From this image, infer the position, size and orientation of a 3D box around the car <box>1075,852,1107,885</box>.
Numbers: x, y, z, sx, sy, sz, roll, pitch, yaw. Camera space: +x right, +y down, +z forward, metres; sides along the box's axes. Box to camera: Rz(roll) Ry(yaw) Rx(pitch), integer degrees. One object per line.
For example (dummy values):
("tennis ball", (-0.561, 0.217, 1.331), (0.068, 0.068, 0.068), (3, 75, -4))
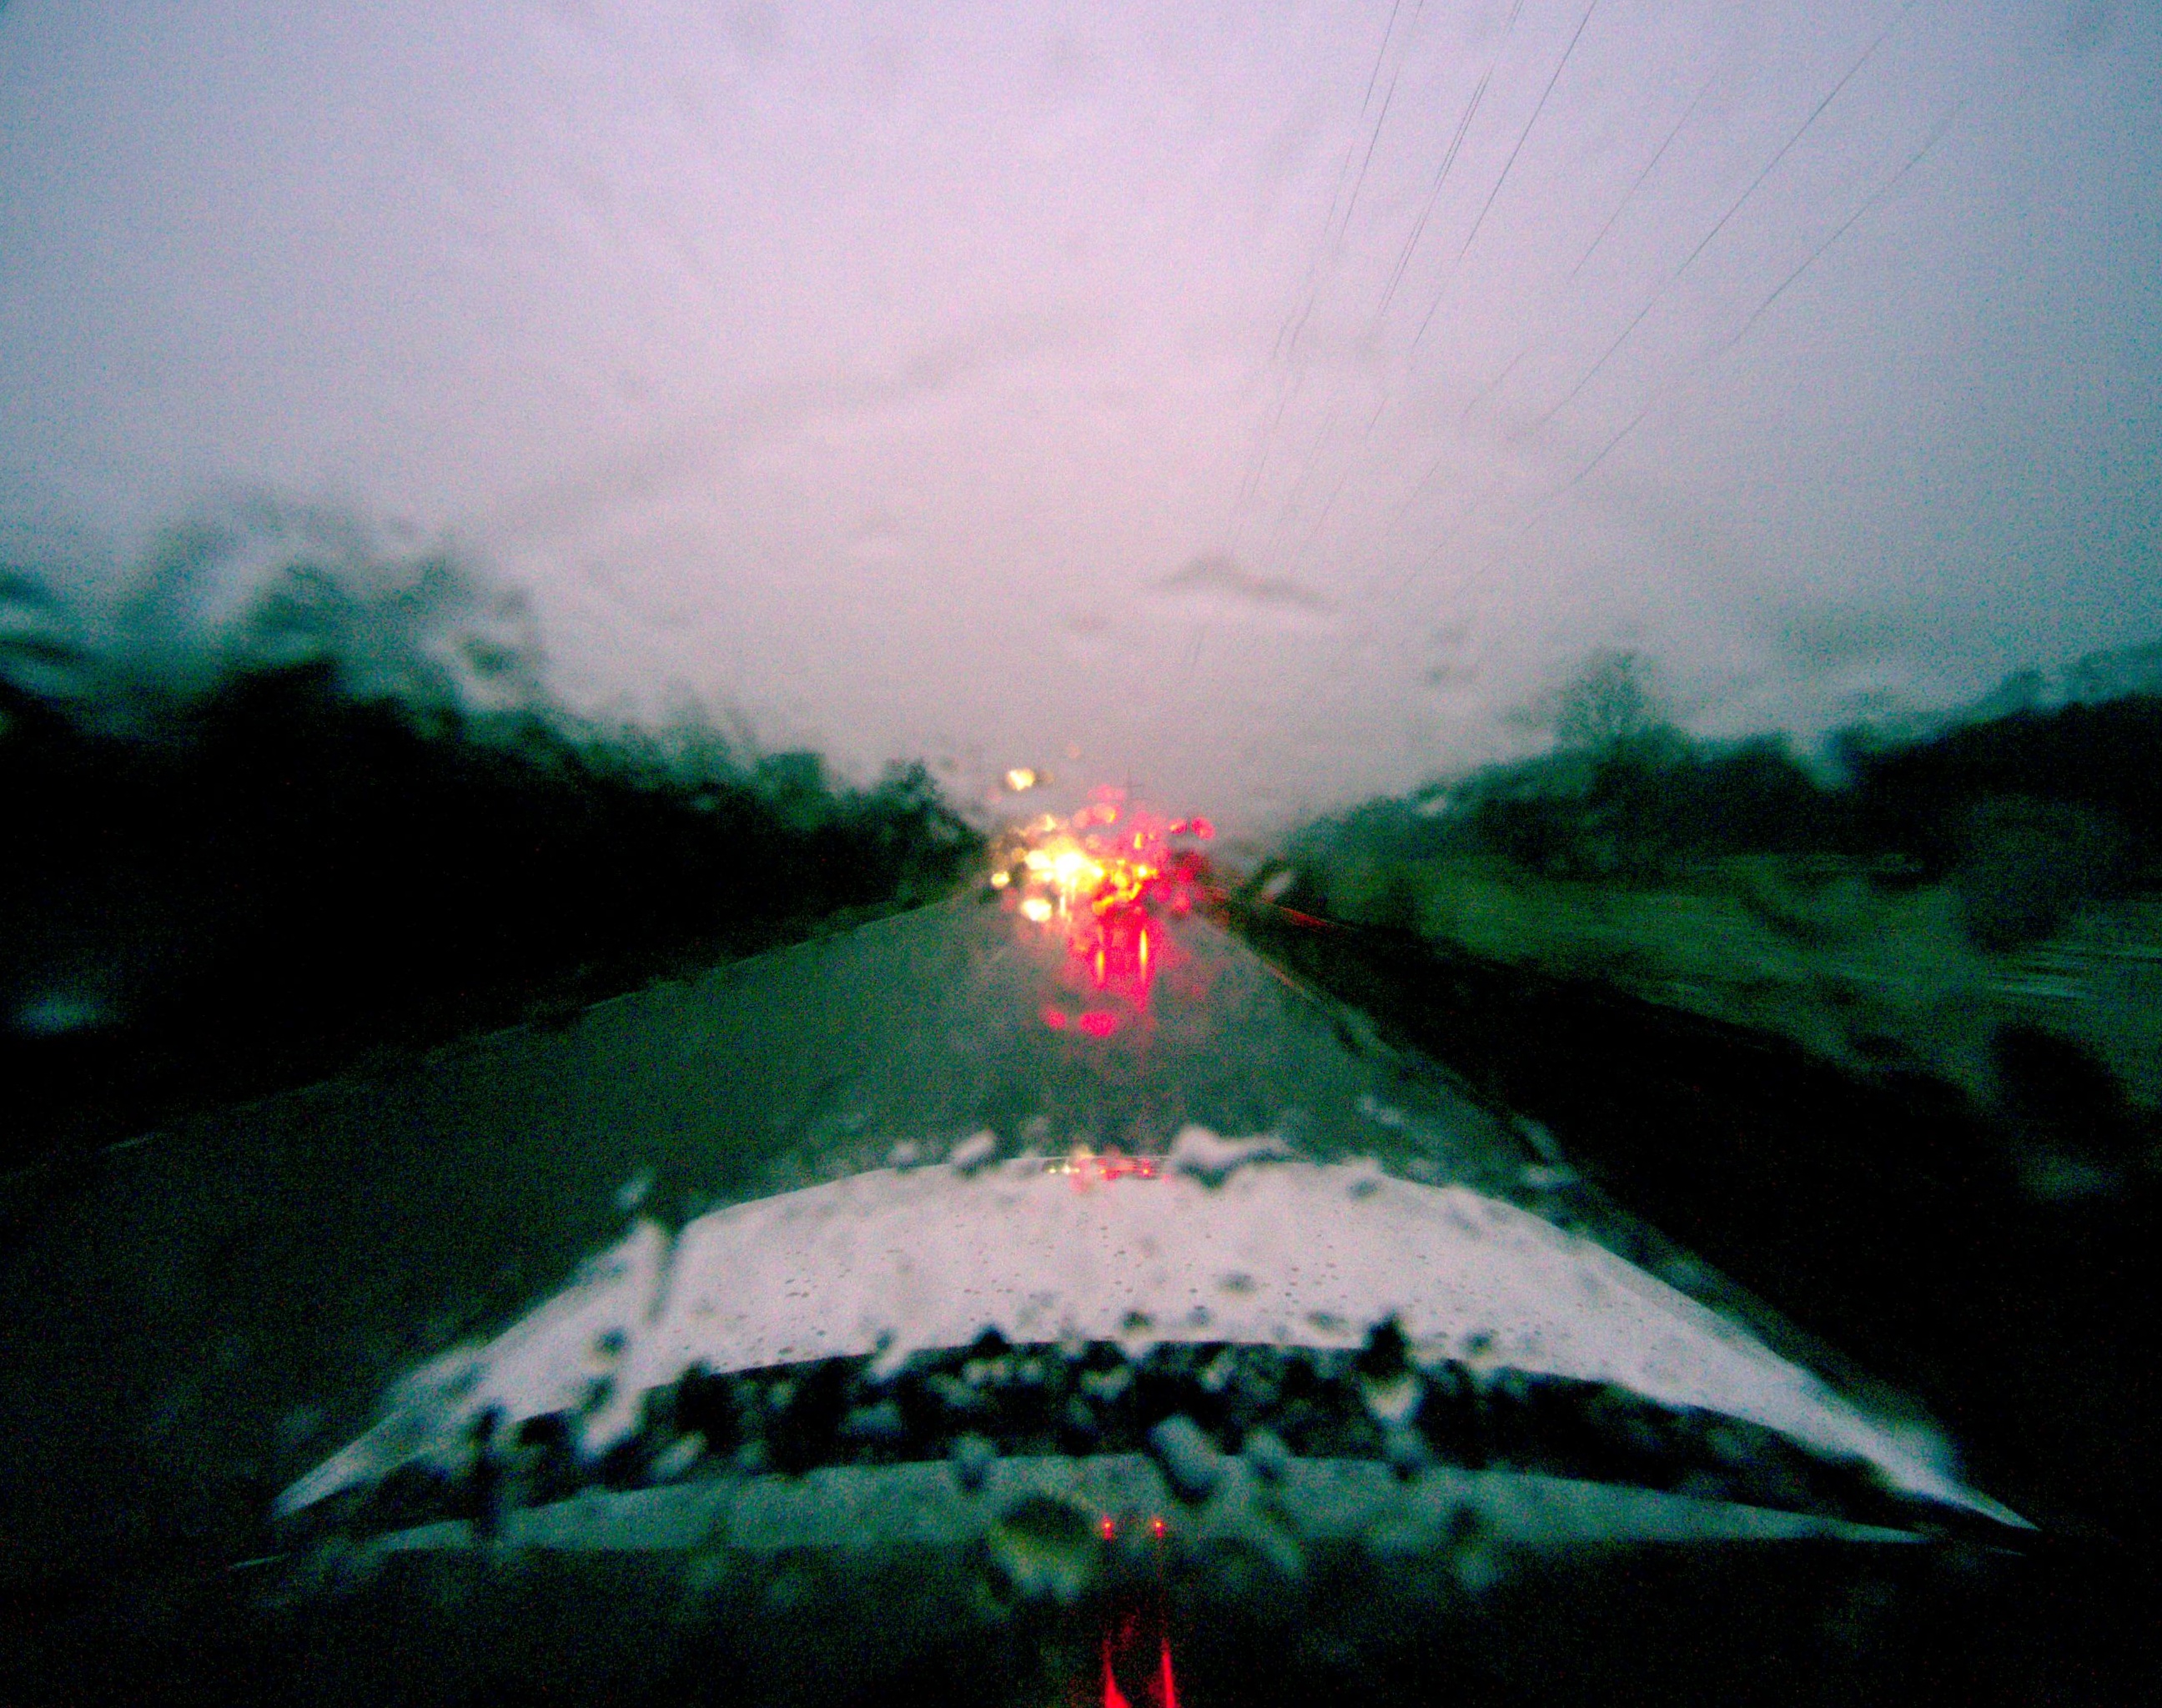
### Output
("car", (0.604, 0.891, 51.978), (1.847, 2.014, 3.996), (-1, 0, -2))

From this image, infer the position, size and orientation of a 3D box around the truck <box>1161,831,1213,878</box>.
("truck", (7.130, 0.045, 55.772), (2.525, 2.978, 7.857), (-1, 0, 0))

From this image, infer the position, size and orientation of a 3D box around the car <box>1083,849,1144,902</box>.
("car", (0.872, 0.578, 23.501), (1.496, 1.398, 3.197), (-1, 0, -2))

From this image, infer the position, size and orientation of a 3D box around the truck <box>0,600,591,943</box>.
("truck", (-28.036, -1.804, 19.223), (7.515, 7.713, 40.163), (-1, 0, 2))
